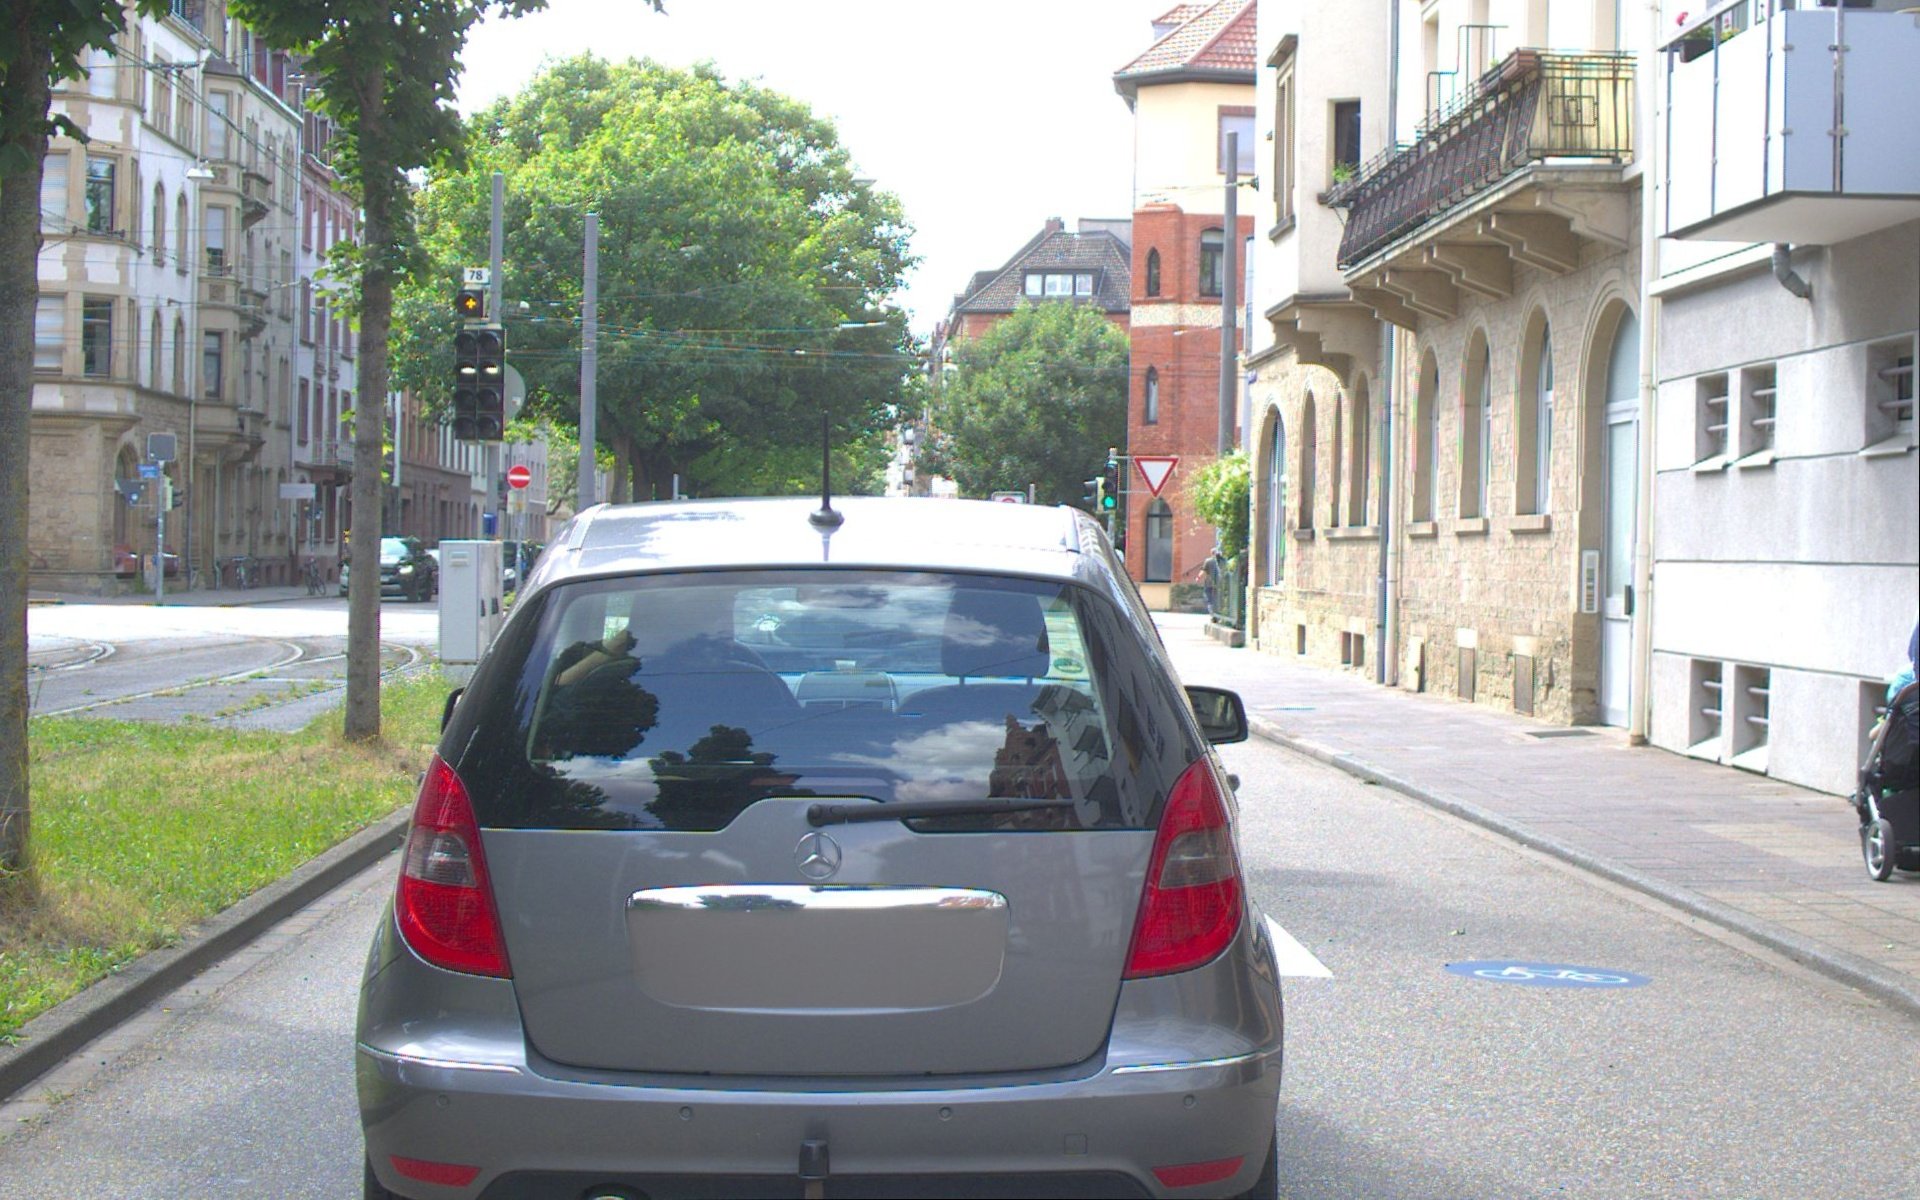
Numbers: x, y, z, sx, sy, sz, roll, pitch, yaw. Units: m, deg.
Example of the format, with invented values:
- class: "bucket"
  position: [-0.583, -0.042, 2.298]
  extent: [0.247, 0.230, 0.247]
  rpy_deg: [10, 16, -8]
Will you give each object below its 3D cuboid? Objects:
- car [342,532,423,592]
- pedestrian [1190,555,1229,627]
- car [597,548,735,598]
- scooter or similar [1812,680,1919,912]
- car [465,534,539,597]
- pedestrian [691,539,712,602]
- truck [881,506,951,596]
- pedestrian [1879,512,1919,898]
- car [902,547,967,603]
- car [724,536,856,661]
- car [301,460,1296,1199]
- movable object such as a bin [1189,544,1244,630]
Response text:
- class: "car"
  position: [-16.054, -1.068, 95.694]
  extent: [1.993, 1.612, 4.001]
  rpy_deg: [0, 1, -7]
- class: "pedestrian"
  position: [5.826, -0.214, 80.299]
  extent: [0.869, 1.651, 0.736]
  rpy_deg: [1, 1, 3]
- class: "car"
  position: [-8.456, -0.774, 98.585]
  extent: [1.969, 1.334, 3.999]
  rpy_deg: [1, 1, -40]
- class: "scooter or similar"
  position: [4.440, 0.904, 16.169]
  extent: [0.592, 0.998, 0.906]
  rpy_deg: [-3, 1, -1]
- class: "car"
  position: [-12.932, -0.988, 97.233]
  extent: [1.993, 1.722, 4.001]
  rpy_deg: [0, 1, -7]
- class: "pedestrian"
  position: [-7.073, -0.806, 93.915]
  extent: [0.493, 1.719, 0.654]
  rpy_deg: [1, 1, -8]
- class: "truck"
  position: [-1.483, -1.658, 116.808]
  extent: [2.123, 2.960, 4.000]
  rpy_deg: [1, 1, 2]
- class: "pedestrian"
  position: [4.586, 0.462, 15.432]
  extent: [0.621, 1.733, 0.877]
  rpy_deg: [-2, 1, -1]
- class: "car"
  position: [-0.756, -0.761, 103.980]
  extent: [1.752, 1.627, 3.499]
  rpy_deg: [1, 1, 2]
- class: "car"
  position: [-2.396, -0.040, 49.047]
  extent: [1.722, 1.700, 3.677]
  rpy_deg: [1, 1, -1]
- class: "car"
  position: [-0.303, 0.542, 7.833]
  extent: [1.722, 1.600, 3.677]
  rpy_deg: [1, 1, -1]
- class: "movable object such as a bin"
  position: [4.451, -0.232, 59.671]
  extent: [0.714, 1.467, 0.983]
  rpy_deg: [0, 1, -10]
